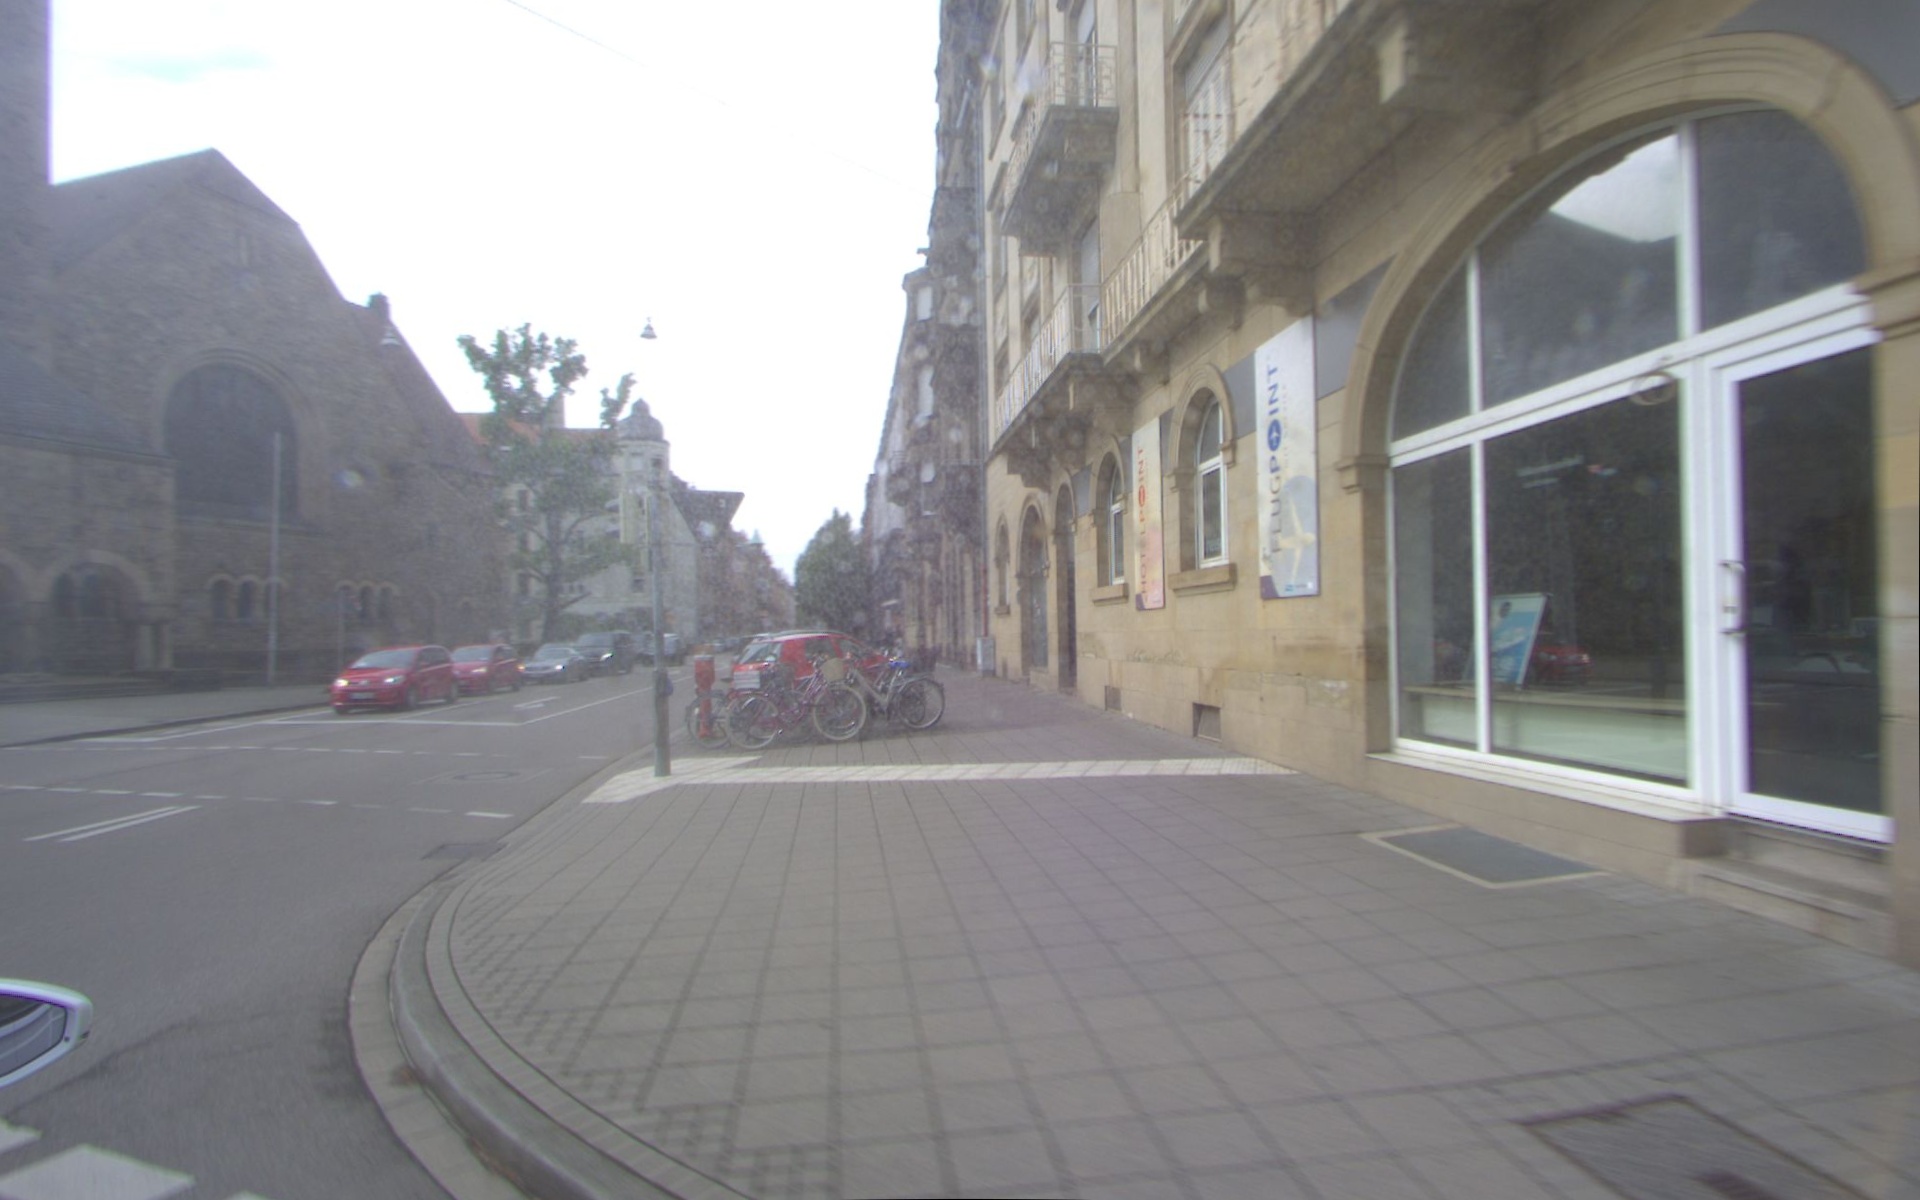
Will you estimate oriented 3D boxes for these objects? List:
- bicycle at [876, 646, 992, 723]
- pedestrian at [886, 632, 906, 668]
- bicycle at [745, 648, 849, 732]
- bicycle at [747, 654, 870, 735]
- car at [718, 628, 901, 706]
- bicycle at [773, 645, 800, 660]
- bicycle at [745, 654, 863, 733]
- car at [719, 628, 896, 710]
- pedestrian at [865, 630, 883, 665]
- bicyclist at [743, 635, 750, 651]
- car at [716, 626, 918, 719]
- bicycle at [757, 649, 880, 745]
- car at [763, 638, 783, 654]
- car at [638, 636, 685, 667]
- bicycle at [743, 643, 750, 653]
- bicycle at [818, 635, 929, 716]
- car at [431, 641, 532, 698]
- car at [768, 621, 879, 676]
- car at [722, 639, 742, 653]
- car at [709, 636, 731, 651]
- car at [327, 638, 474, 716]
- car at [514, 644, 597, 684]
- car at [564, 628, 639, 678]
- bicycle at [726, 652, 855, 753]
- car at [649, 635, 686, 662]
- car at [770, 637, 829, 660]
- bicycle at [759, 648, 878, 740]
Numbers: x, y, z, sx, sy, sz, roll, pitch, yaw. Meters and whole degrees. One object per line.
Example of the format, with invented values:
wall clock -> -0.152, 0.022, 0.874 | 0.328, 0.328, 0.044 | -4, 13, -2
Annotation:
bicycle -> -0.414, 1.300, 15.601 | 1.705, 1.052, 0.476 | -4, -2, -8
pedestrian -> -2.778, 2.180, 43.680 | 0.575, 1.548, 0.636 | -3, -3, 41
bicycle -> -2.581, 1.418, 15.915 | 1.542, 1.187, 0.476 | -4, -2, -8
bicycle -> -2.228, 1.385, 14.790 | 1.705, 1.052, 0.476 | -4, -2, -8
car -> -3.757, 1.660, 25.417 | 4.179, 1.703, 1.901 | -1, -3, -41
bicycle -> -12.501, 3.779, 72.243 | 1.854, 1.056, 0.612 | -2, -2, -10
bicycle -> -2.396, 1.427, 15.421 | 1.705, 1.052, 0.476 | -4, -2, -8
car -> -3.401, 1.531, 22.714 | 1.830, 1.527, 3.557 | -6, -2, 41
pedestrian -> -3.854, 2.113, 44.877 | 0.548, 1.548, 0.558 | -3, -3, 41
bicyclist -> -24.934, 4.992, 116.823 | 0.769, 1.890, 0.714 | 0, -1, -5
car -> -2.737, 1.378, 19.847 | 1.773, 1.581, 3.808 | -4, -2, 37
bicycle -> -1.892, 1.281, 13.417 | 1.542, 1.141, 0.476 | -4, -2, -8
car -> -20.123, 4.989, 107.913 | 1.962, 1.701, 4.002 | 0, -3, -8
car -> -17.172, 2.923, 57.805 | 1.815, 1.705, 4.549 | 0, -2, -7
bicycle -> -24.929, 5.588, 116.726 | 0.558, 1.101, 1.987 | 0, -2, -5
bicycle -> -1.441, 1.242, 16.617 | 1.751, 1.187, 0.496 | -4, -2, -8
car -> -13.996, 2.011, 29.496 | 1.577, 1.475, 3.719 | -3, -2, -8
car -> -5.501, 1.958, 40.809 | 1.859, 1.932, 4.245 | -3, 0, 42
car -> -27.061, 5.529, 119.129 | 1.913, 1.637, 3.944 | 0, -3, -7
car -> -26.848, 4.912, 112.165 | 1.913, 1.637, 3.944 | 0, -3, -7
car -> -13.120, 1.750, 23.745 | 1.623, 1.548, 3.893 | -3, -1, -7
car -> -14.679, 2.315, 36.558 | 1.677, 1.302, 4.044 | -3, -2, -6
car -> -15.396, 2.239, 43.283 | 1.881, 1.979, 5.284 | 0, -2, -7
bicycle -> -2.156, 1.298, 12.826 | 1.542, 1.141, 0.476 | -4, -2, -8
car -> -21.883, 3.630, 75.183 | 1.813, 1.964, 4.549 | 0, -2, -5
car -> -12.633, 3.798, 78.886 | 4.239, 1.598, 1.849 | -2, -2, -40
bicycle -> -1.961, 1.296, 13.925 | 1.542, 1.141, 0.476 | -4, -2, -8
